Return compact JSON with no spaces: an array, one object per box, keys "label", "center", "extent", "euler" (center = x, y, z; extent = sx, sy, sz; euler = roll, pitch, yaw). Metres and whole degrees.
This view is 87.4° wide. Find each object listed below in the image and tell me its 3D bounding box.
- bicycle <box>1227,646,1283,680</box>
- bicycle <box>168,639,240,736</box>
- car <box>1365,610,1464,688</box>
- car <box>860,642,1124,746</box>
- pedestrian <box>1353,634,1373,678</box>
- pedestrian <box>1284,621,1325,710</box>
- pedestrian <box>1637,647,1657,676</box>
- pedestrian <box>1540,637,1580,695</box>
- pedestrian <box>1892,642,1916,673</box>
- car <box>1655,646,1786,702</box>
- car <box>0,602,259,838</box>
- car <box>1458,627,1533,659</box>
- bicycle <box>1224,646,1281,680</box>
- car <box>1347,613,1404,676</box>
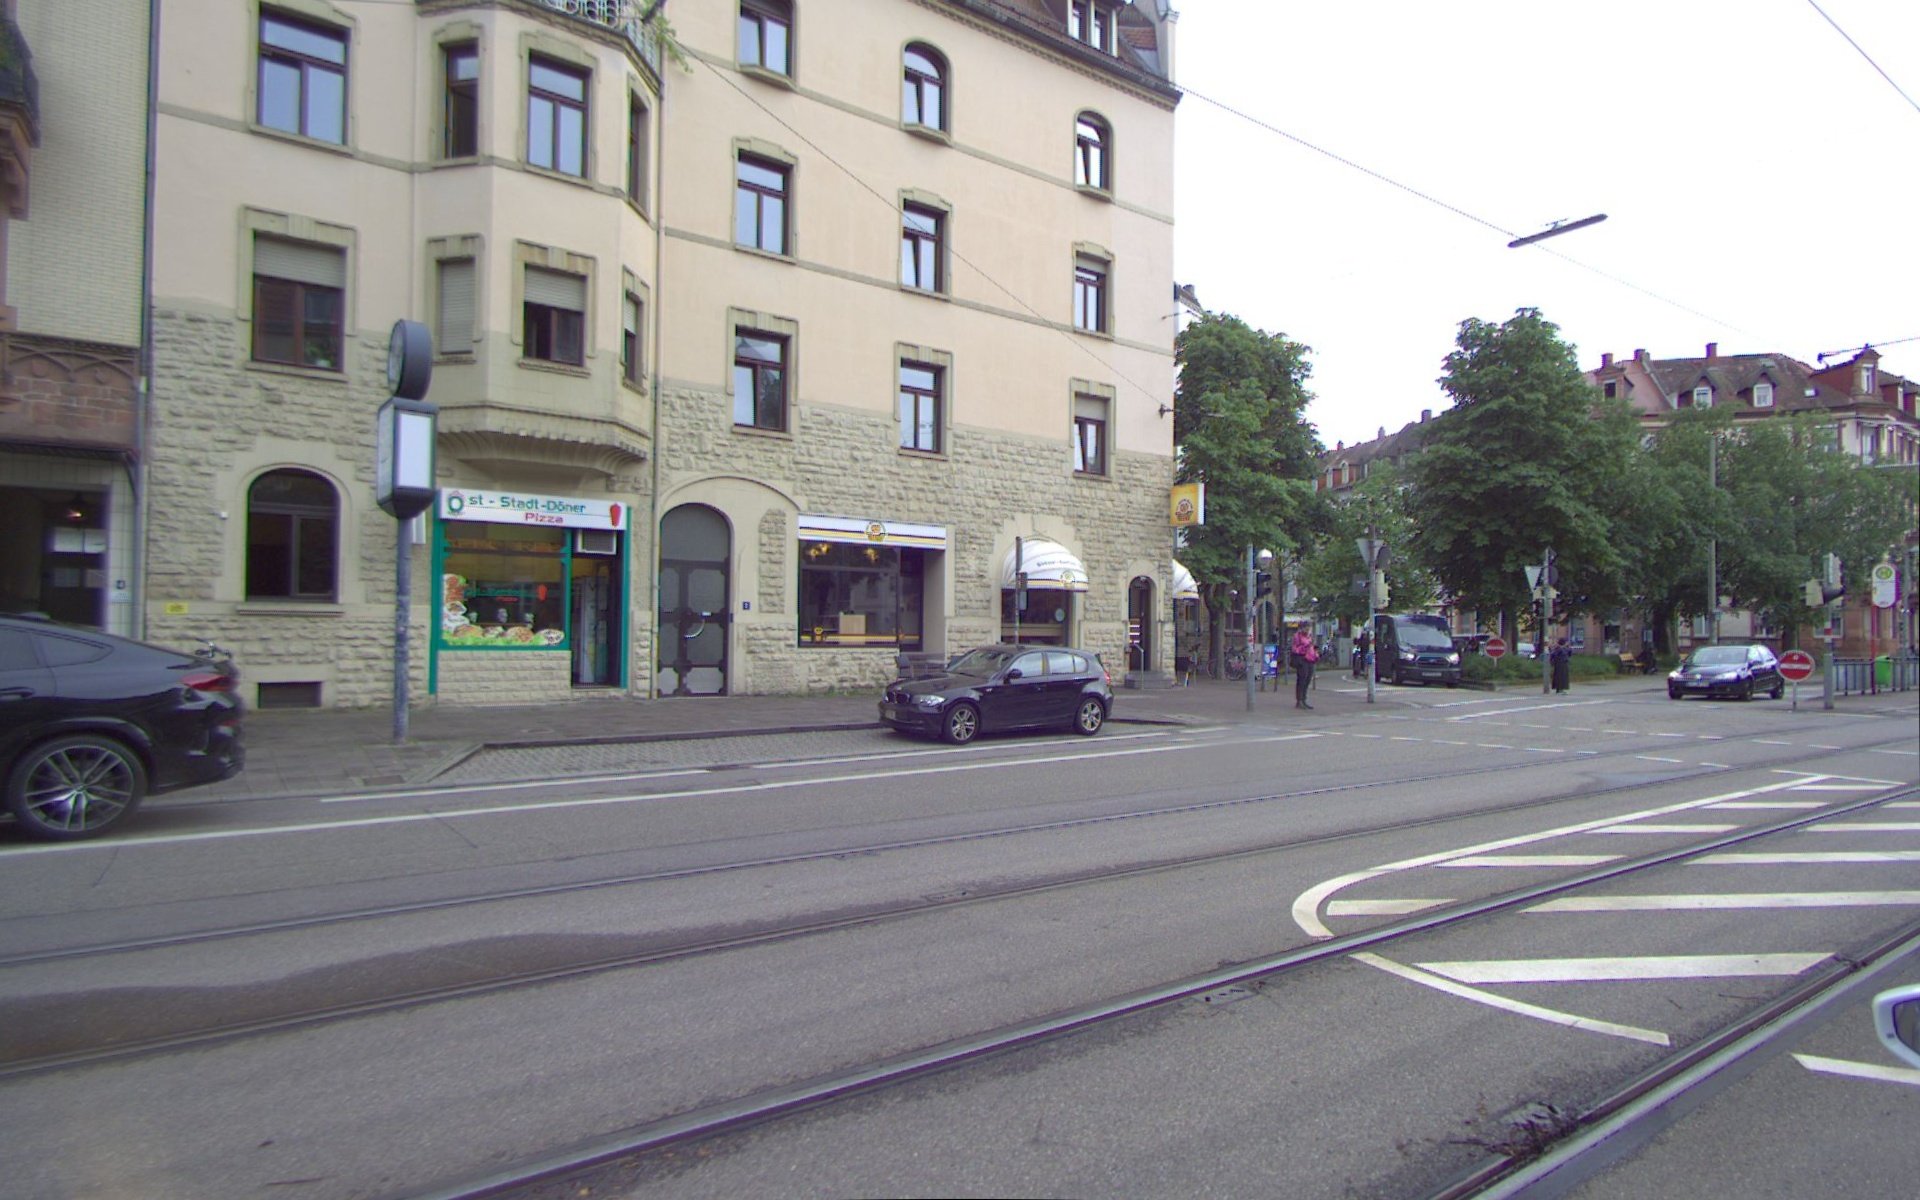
[{"label":"bicycle","center":[9.984,2.124,34.013],"extent":[1.777,1.091,0.359],"euler":[0,-2,10]},{"label":"bicycle","center":[-9.737,1.072,12.902],"extent":[0.544,1.023,2.336],"euler":[2,0,-41]},{"label":"car","center":[15.504,1.665,34.553],"extent":[2.142,2.449,5.384],"euler":[0,-2,14]},{"label":"car","center":[0.584,1.424,16.085],"extent":[4.091,1.379,1.637],"euler":[2,0,-37]},{"label":"pedestrian","center":[15.997,2.210,39.858],"extent":[0.686,1.738,0.552],"euler":[0,-2,16]},{"label":"pedestrian","center":[7.404,1.396,21.596],"extent":[0.604,1.866,0.618],"euler":[2,-2,-36]},{"label":"pedestrian","center":[28.667,2.559,41.908],"extent":[0.579,1.184,0.844],"euler":[0,-2,27]},{"label":"pedestrian","center":[17.640,1.923,29.515],"extent":[0.584,1.685,0.832],"euler":[2,-2,-32]},{"label":"pedestrian","center":[48.227,2.920,51.316],"extent":[0.636,1.540,0.590],"euler":[0,-2,2]},{"label":"car","center":[20.477,1.951,27.001],"extent":[3.817,1.400,1.676],"euler":[2,-3,-34]},{"label":"car","center":[-7.981,0.853,7.000],"extent":[4.853,1.632,1.866],"euler":[3,-6,-43]},{"label":"car","center":[28.532,2.293,53.519],"extent":[3.955,1.617,1.786],"euler":[2,-2,-32]},{"label":"bicycle","center":[9.740,2.098,33.489],"extent":[1.777,1.091,0.359],"euler":[0,-2,10]},{"label":"car","center":[18.187,1.938,43.851],"extent":[2.144,2.560,5.378],"euler":[0,-2,24]}]
